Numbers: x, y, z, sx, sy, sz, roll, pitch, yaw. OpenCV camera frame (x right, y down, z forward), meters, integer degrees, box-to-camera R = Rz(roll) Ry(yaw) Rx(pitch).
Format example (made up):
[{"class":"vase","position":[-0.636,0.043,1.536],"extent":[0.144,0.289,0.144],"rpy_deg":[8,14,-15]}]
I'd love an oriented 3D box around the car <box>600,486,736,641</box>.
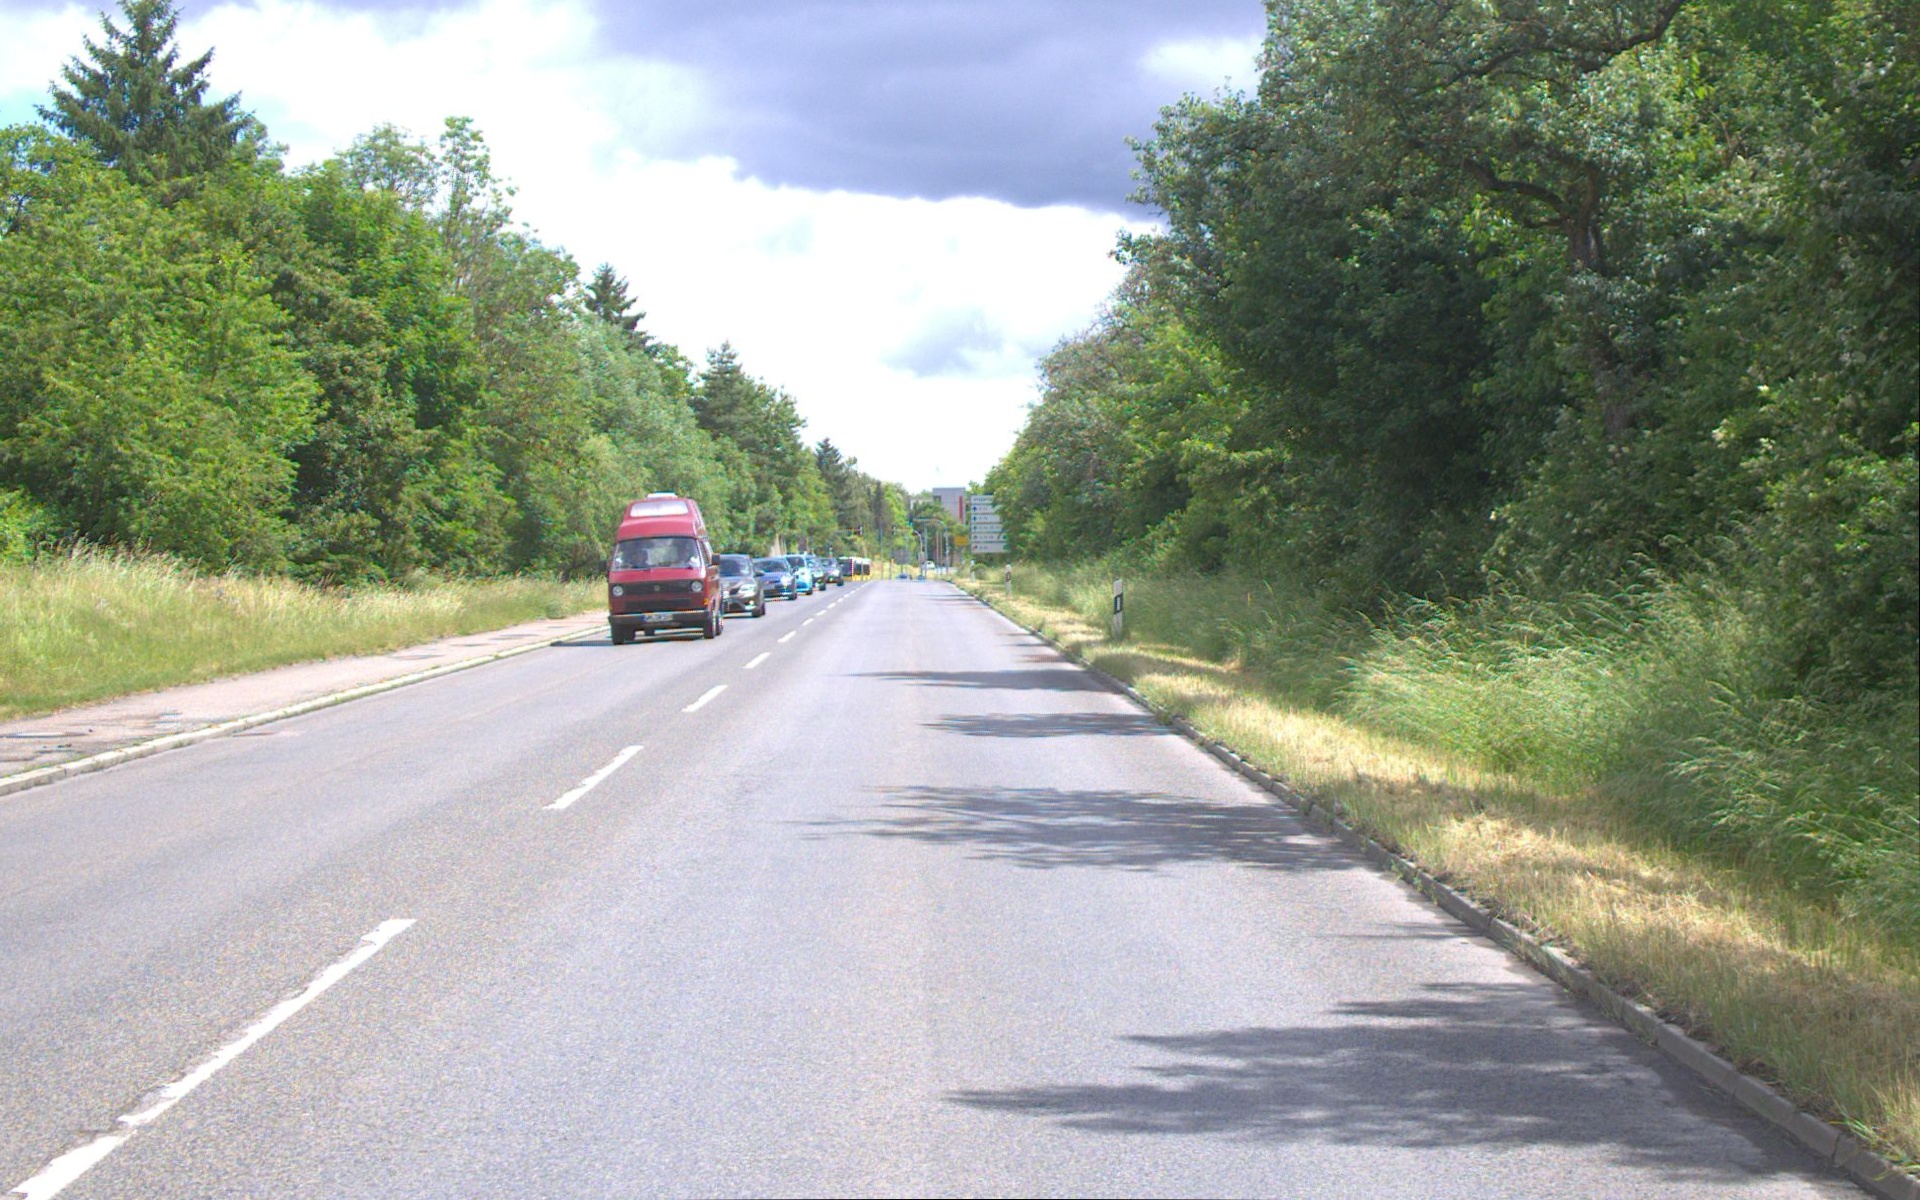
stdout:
[{"class":"car","position":[-5.124,-0.657,60.907],"extent":[1.969,2.541,4.725],"rpy_deg":[-3,1,-1]}]

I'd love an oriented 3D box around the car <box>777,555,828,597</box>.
[{"class":"car","position":[-5.900,-0.912,128.935],"extent":[1.784,1.441,2.966],"rpy_deg":[-3,1,-2]}]

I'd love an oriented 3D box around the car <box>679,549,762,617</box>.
[{"class":"car","position":[-5.640,-0.428,81.242],"extent":[1.716,1.466,4.000],"rpy_deg":[-3,1,-2]}]

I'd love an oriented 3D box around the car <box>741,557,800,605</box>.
[{"class":"car","position":[-6.230,-0.634,113.258],"extent":[1.784,1.441,4.453],"rpy_deg":[-3,1,-2]}]

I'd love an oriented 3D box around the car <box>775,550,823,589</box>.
[{"class":"car","position":[-6.743,-1.299,144.279],"extent":[1.884,1.486,4.718],"rpy_deg":[-3,1,-2]}]

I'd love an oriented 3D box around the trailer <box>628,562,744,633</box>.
[{"class":"trailer","position":[-5.171,-0.073,65.293],"extent":[1.891,1.196,3.917],"rpy_deg":[-3,1,-1]}]
